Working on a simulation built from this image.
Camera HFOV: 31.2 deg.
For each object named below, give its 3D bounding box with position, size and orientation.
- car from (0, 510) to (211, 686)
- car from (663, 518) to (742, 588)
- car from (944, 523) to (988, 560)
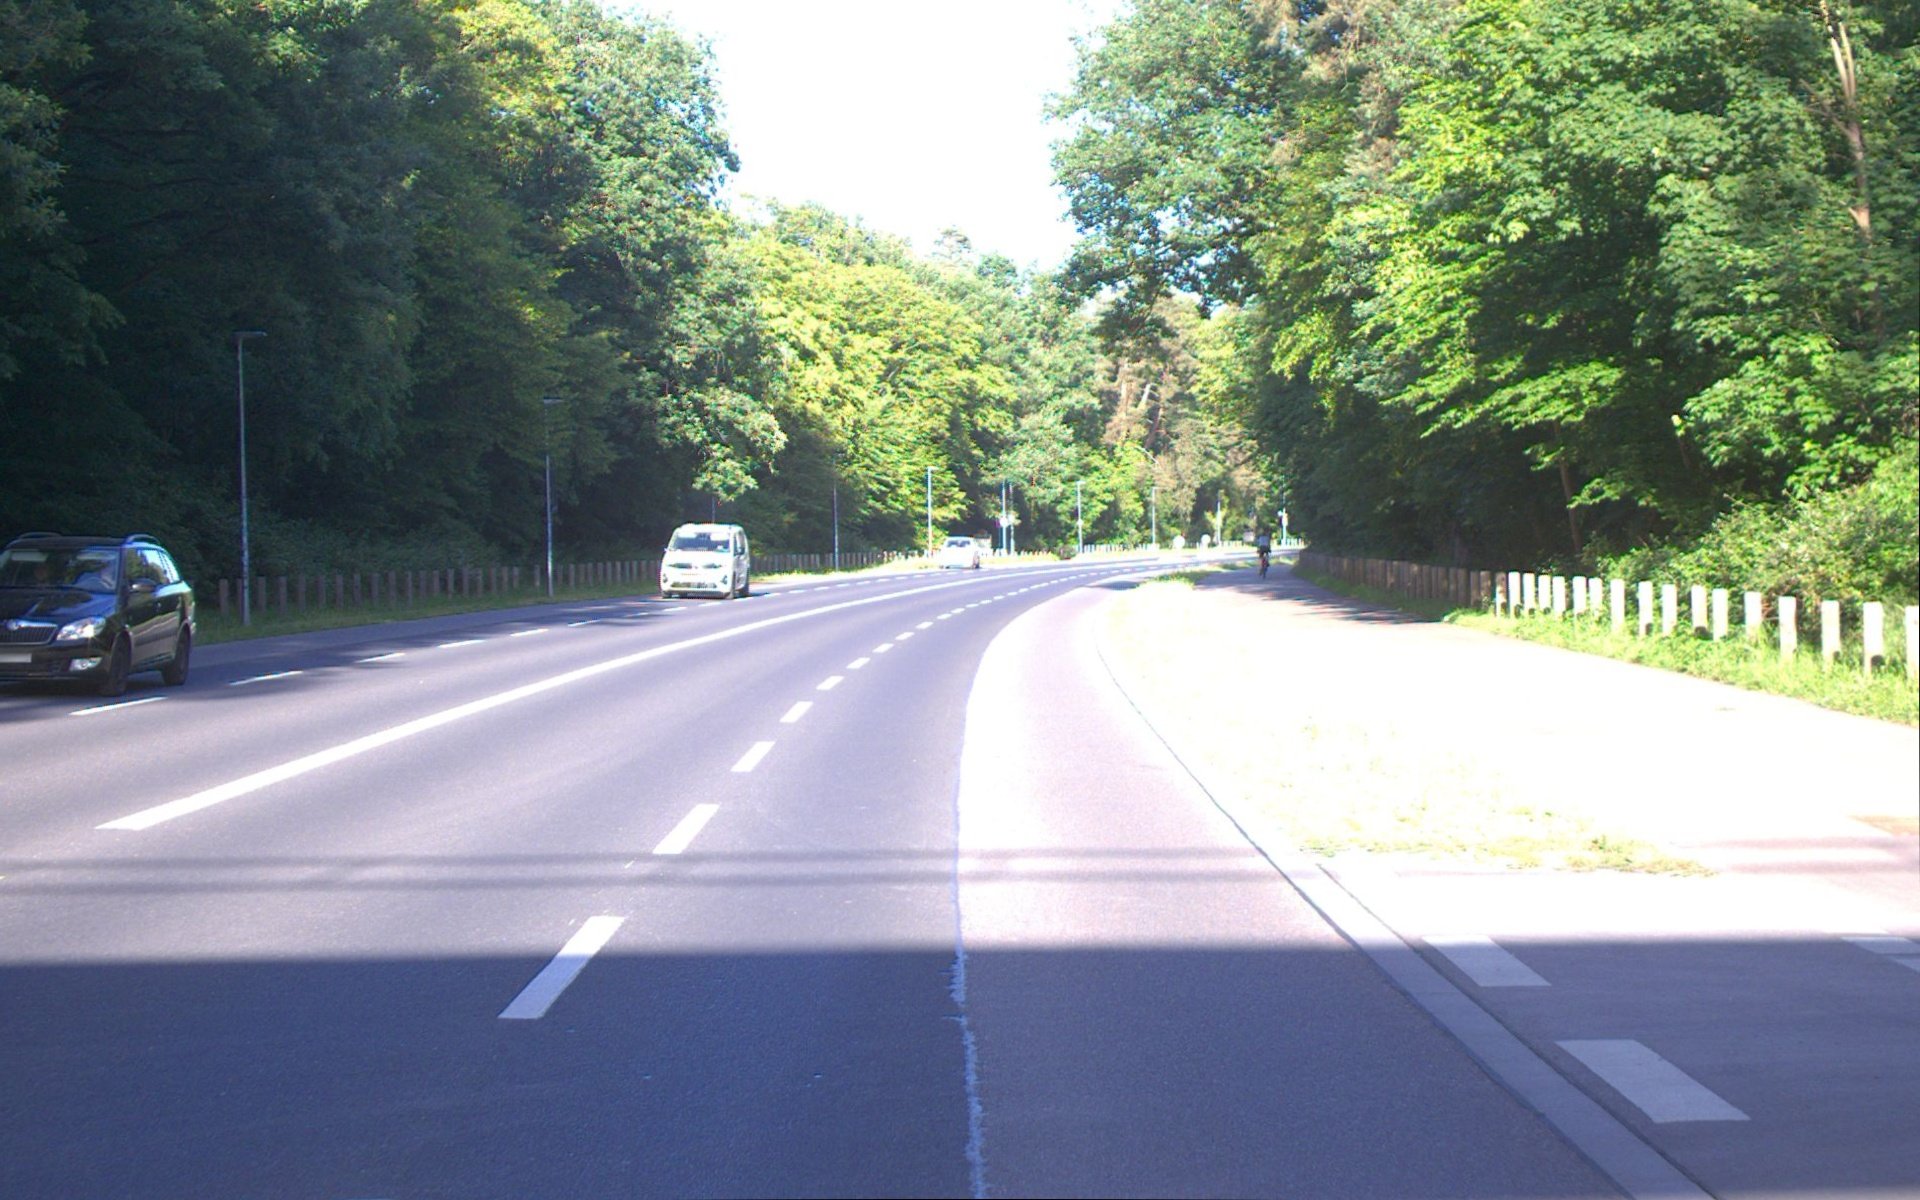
[{"bbox_3d":[-8.620,-0.071,33.438,1.722,1.568,4.178,1,1,0],"label":"car"},{"bbox_3d":[-6.384,-1.187,85.555,1.705,1.703,4.000,0,1,-1],"label":"car"},{"bbox_3d":[0.295,-2.774,161.617,1.784,1.703,4.000,0,1,4],"label":"car"}]
